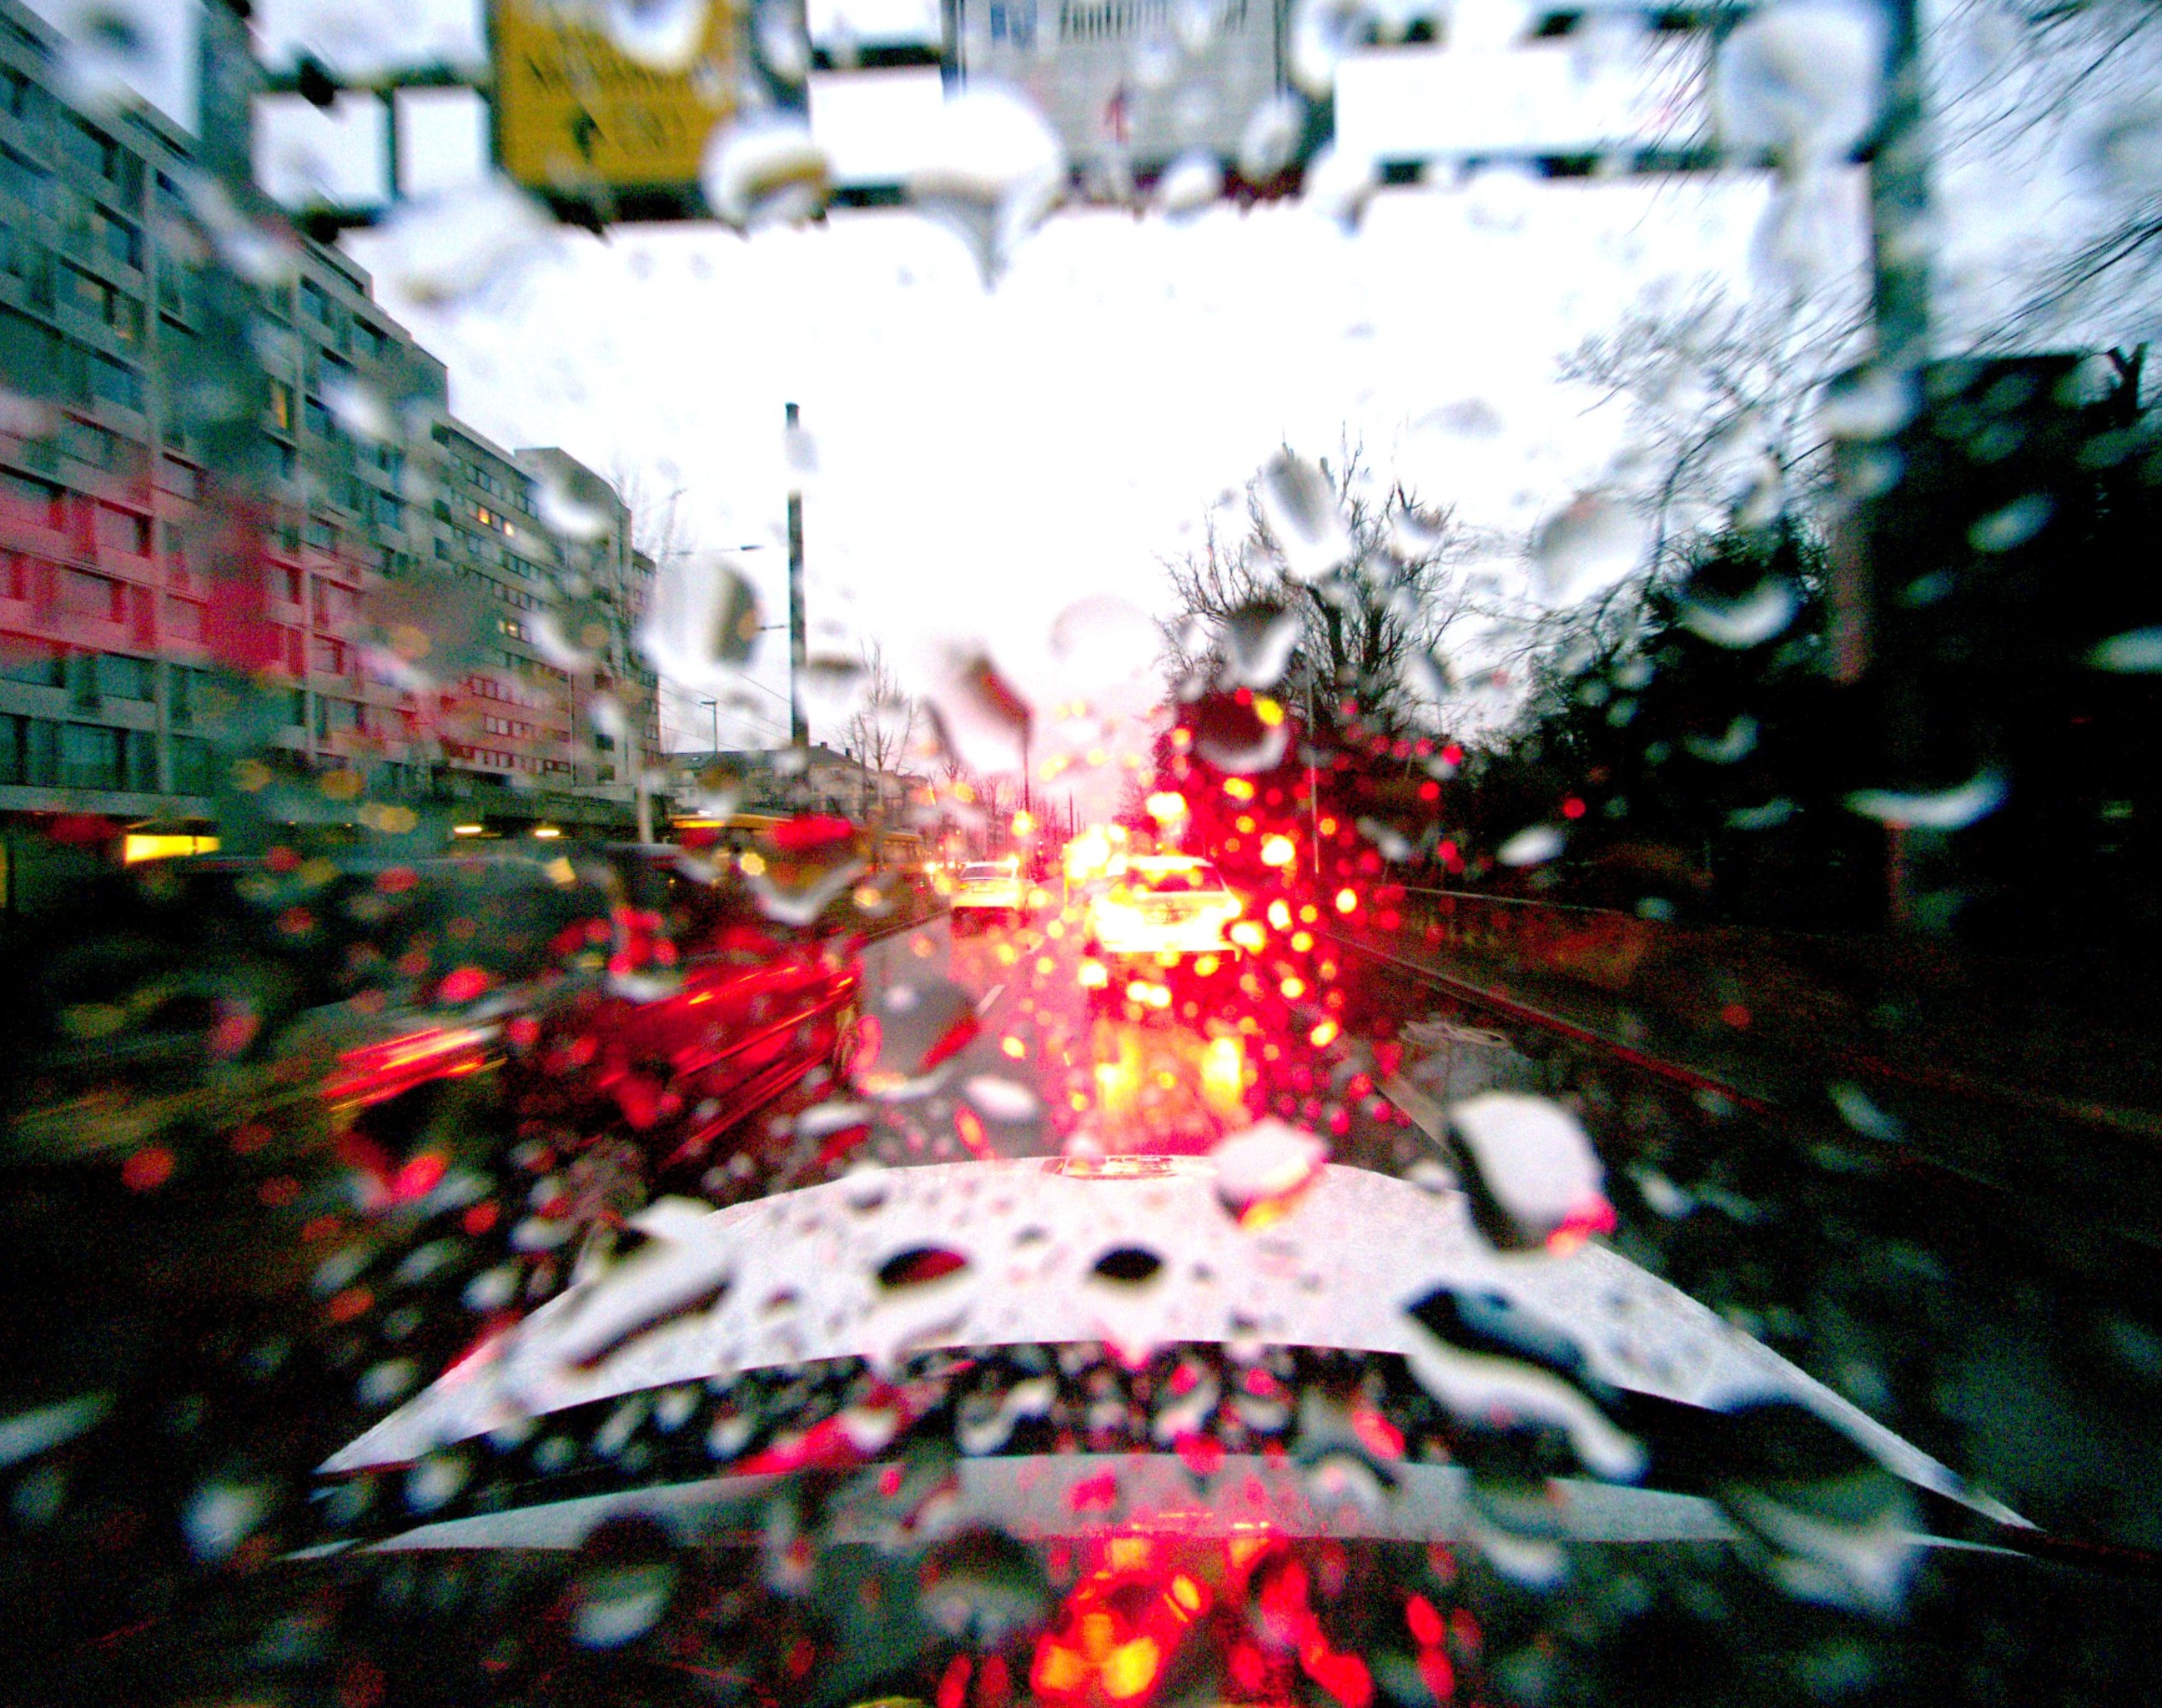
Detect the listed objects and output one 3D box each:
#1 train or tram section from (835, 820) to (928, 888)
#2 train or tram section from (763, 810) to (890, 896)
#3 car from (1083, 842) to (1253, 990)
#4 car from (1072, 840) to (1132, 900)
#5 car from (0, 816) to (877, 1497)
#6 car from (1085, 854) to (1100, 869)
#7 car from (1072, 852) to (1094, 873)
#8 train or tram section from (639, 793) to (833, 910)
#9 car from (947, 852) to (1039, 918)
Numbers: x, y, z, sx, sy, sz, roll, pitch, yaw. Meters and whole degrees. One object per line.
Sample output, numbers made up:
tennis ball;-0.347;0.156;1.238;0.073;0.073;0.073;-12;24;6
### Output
train or tram section;-11.605;0.018;48.317;2.832;3.504;9.161;-3;0;2
train or tram section;-11.874;-0.007;39.148;2.832;3.504;9.161;-3;0;2
car;0.934;0.671;10.842;1.754;1.552;4.250;-1;0;-1
car;0.757;0.547;29.310;1.986;2.014;4.001;-1;0;2
car;-2.429;0.726;3.925;1.753;1.594;4.002;-1;0;2
car;1.582;0.969;111.655;1.986;2.014;4.001;-1;0;2
car;0.191;0.807;78.774;1.986;2.014;4.001;-1;0;2
train or tram section;-12.165;-0.053;29.974;2.832;3.504;9.161;-3;0;2
car;-2.083;0.719;20.476;1.753;1.469;4.252;-1;0;1
